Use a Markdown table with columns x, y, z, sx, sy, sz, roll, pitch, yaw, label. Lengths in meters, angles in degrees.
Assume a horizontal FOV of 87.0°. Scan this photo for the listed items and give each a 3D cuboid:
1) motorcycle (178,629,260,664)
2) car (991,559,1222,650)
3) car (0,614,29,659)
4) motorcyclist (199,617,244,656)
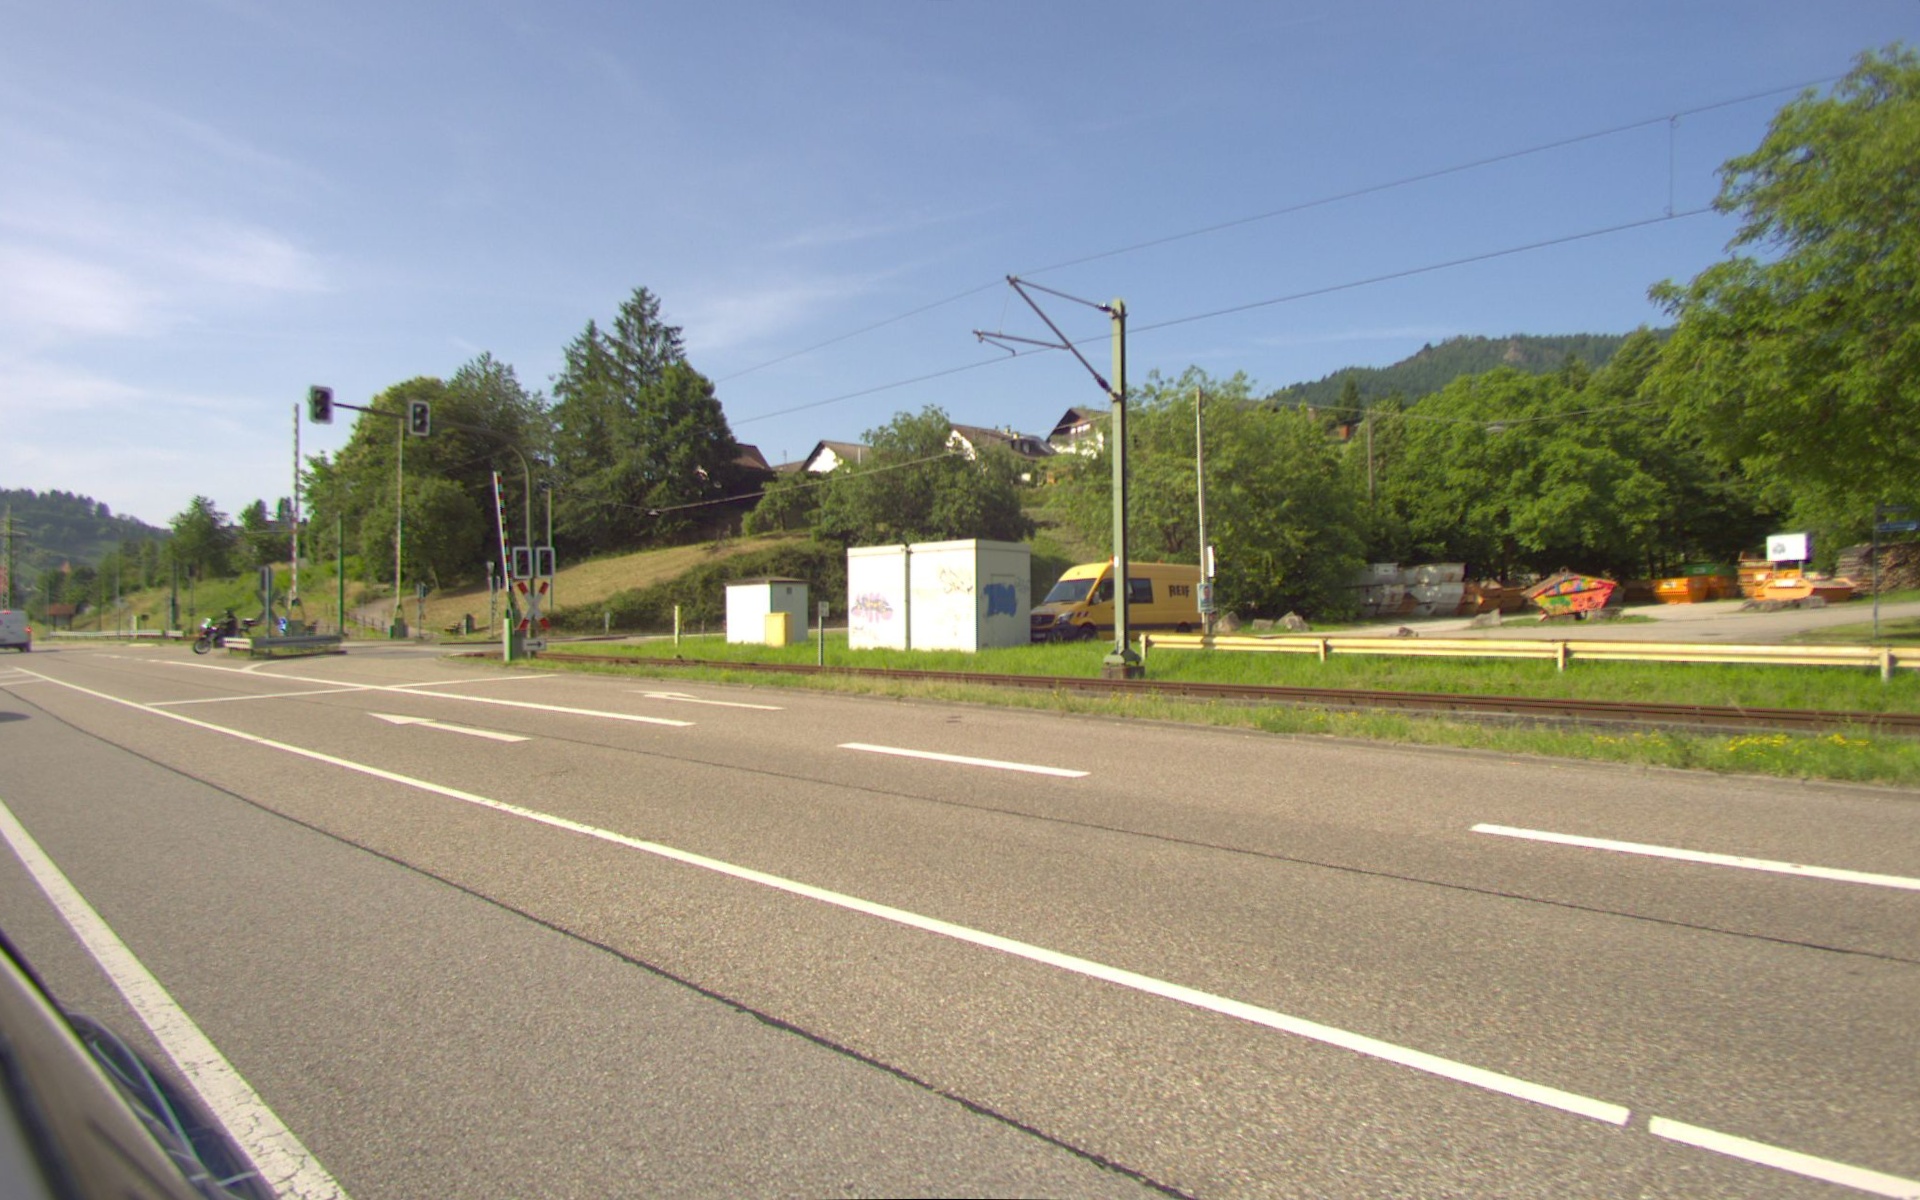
| x | y | z | sx | sy | sz | roll | pitch | yaw | label |
| --- | --- | --- | --- | --- | --- | --- | --- | --- | --- |
| -30.959 | 1.937 | 42.336 | 1.000 | 1.278 | 2.569 | -2 | 0 | 27 | motorcycle |
| 4.583 | 0.091 | 30.797 | 6.974 | 2.475 | 2.954 | -1 | -1 | -39 | car |
| -54.109 | 2.068 | 56.990 | 5.228 | 2.455 | 2.096 | -2 | -1 | 43 | car |
| -30.933 | 1.541 | 42.406 | 0.987 | 1.555 | 1.175 | -2 | 1 | 28 | motorcyclist |
